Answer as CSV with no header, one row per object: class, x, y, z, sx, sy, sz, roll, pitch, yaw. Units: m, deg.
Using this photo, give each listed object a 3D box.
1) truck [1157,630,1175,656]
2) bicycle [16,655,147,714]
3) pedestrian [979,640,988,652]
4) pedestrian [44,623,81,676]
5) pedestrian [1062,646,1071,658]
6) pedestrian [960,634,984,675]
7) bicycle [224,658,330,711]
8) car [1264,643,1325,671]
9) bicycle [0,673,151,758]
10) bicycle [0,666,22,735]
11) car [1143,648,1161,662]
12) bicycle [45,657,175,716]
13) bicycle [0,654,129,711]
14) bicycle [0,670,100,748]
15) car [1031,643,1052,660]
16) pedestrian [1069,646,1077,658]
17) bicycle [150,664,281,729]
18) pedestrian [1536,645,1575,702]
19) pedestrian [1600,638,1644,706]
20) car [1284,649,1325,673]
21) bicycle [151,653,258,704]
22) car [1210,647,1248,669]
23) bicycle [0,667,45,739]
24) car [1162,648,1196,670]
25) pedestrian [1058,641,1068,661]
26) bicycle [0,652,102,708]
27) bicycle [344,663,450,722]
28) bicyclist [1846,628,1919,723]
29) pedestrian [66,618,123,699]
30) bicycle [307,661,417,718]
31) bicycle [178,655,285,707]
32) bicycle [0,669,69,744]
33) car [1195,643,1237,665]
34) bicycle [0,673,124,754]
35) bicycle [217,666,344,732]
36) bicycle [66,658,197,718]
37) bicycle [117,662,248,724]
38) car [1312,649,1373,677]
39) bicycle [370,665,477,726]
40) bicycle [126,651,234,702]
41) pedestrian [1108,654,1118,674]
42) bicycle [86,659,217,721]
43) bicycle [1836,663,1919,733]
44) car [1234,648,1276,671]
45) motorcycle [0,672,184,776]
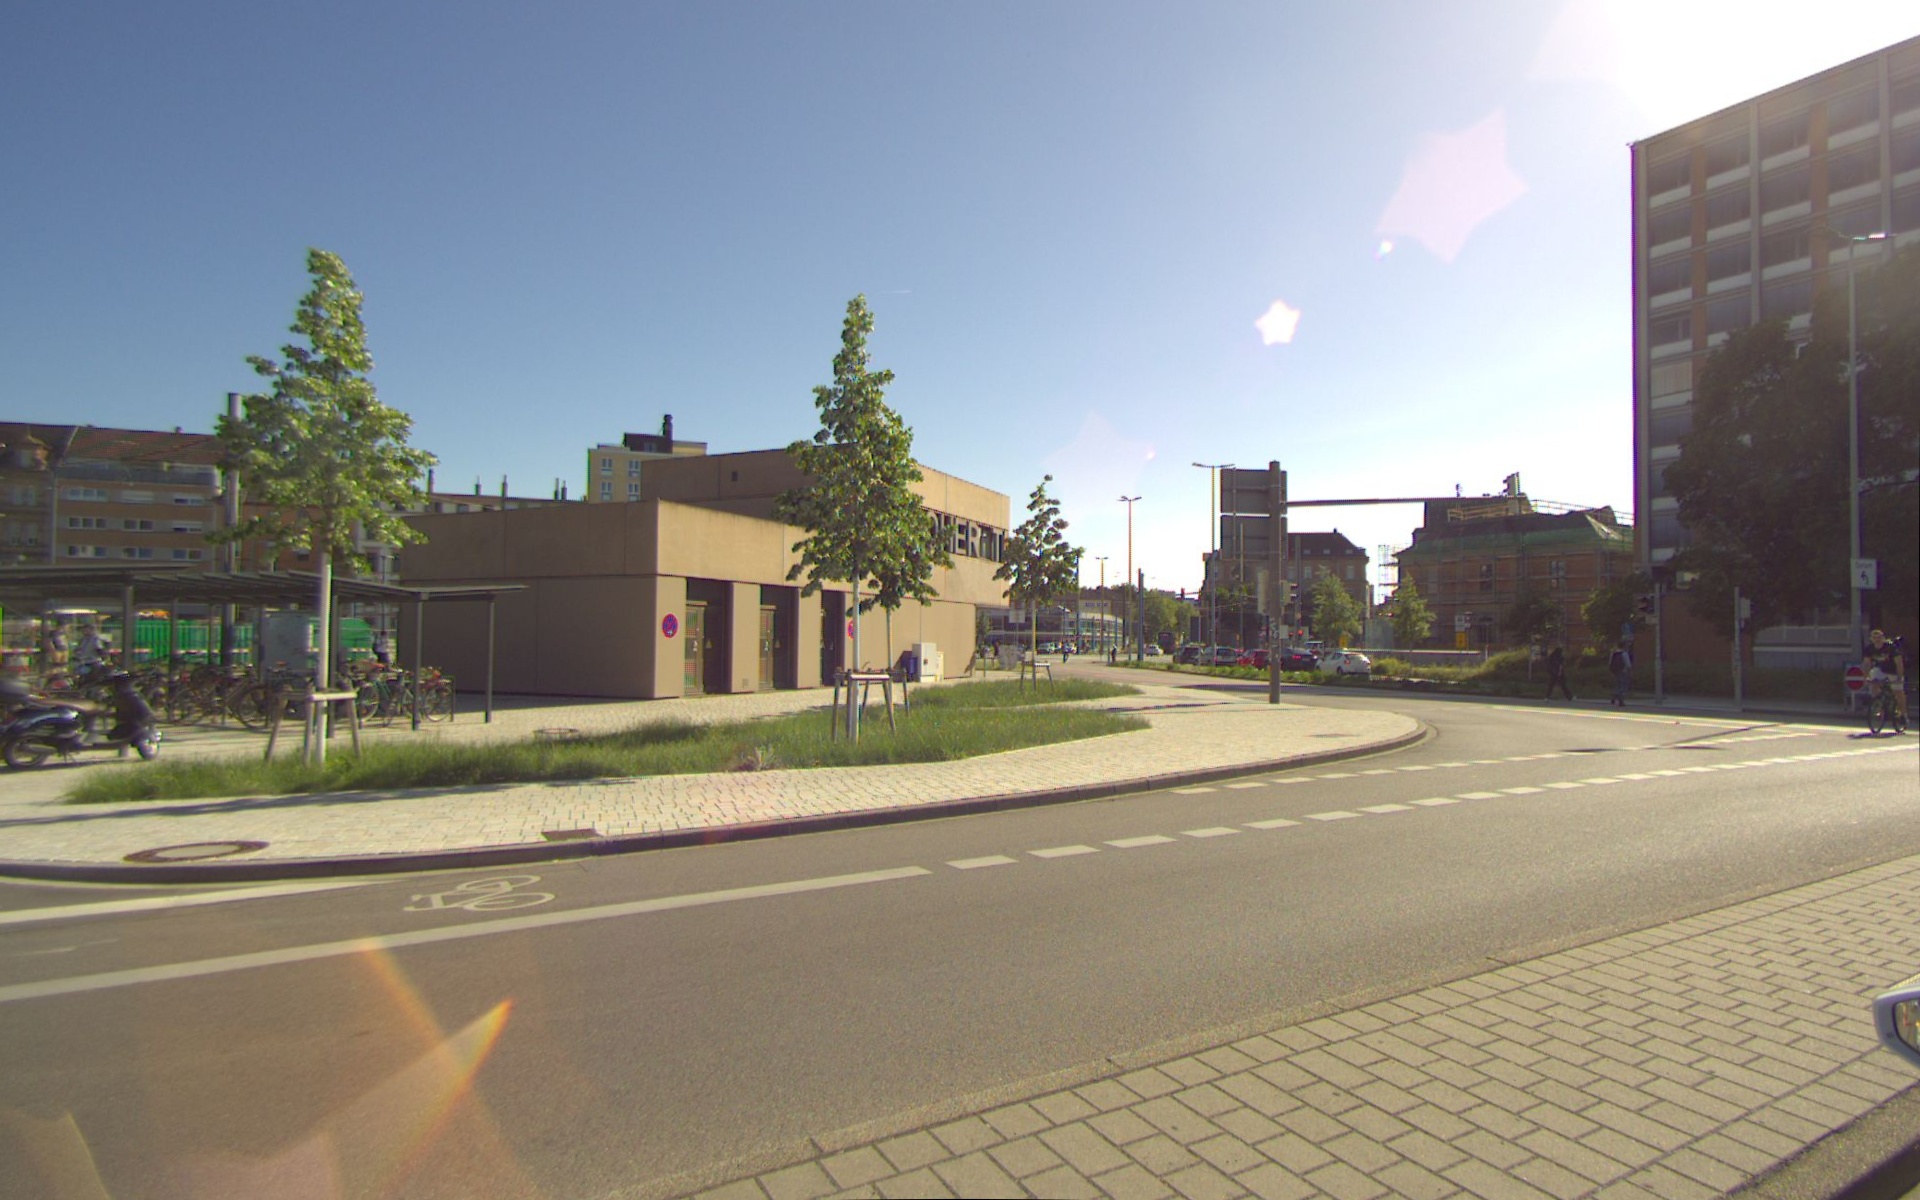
truck,32.220,6.668,157.250,2.549,3.723,5.229,2,0,10
bicycle,-16.637,1.582,19.087,0.557,1.051,1.788,-1,-3,22
pedestrian,2.942,5.752,125.723,0.855,1.427,0.688,2,0,-32
pedestrian,-26.160,1.440,29.290,0.550,1.538,0.588,0,-2,25
pedestrian,13.712,6.667,129.046,0.855,1.427,0.688,2,0,-32
pedestrian,0.503,2.329,42.817,0.778,1.745,0.594,-2,-5,38
bicycle,-14.110,1.724,20.799,0.557,1.051,1.788,-1,-3,22
car,20.921,3.536,63.033,1.953,1.645,4.374,1,-2,-7
bicycle,-12.199,1.541,13.658,0.557,1.051,1.788,-1,-3,22
bicycle,-15.221,1.514,14.925,0.557,1.051,1.788,-1,-3,22
car,25.068,7.179,131.256,1.751,1.565,3.640,2,0,19
bicycle,-15.898,1.589,18.845,0.557,1.051,1.788,-1,-3,22
bicycle,-17.199,1.560,19.324,0.557,1.051,1.788,-1,-3,22
bicycle,-13.345,1.524,14.143,0.557,1.051,1.788,-1,-3,22
car,11.068,6.988,136.549,1.960,2.040,4.001,2,0,16
pedestrian,14.559,6.695,129.507,0.855,1.427,0.688,2,0,-32
bicycle,-12.959,1.656,17.551,0.557,1.051,1.788,-1,-3,22
pedestrian,17.305,2.130,29.209,0.670,1.633,0.717,2,-2,-15
pedestrian,18.536,2.011,28.119,1.086,1.856,0.748,4,-3,-38
car,25.857,4.570,75.455,1.846,1.638,3.626,2,-3,0
bicycle,-16.205,1.665,21.596,0.557,1.051,1.788,-1,-3,22
car,20.230,4.356,75.659,1.697,1.461,3.799,3,-2,-2
bicycle,-14.606,1.513,14.641,0.557,1.051,1.788,-1,-3,22
car,16.343,4.400,75.130,1.696,1.461,3.912,3,-2,2
pedestrian,8.594,4.241,83.602,0.643,1.632,0.676,2,0,-4
bicycle,-17.879,1.537,19.495,0.557,1.051,1.788,-1,-3,22
bicycle,-10.652,1.720,19.066,0.557,1.051,1.788,-1,-3,22
bicyclist,16.550,1.345,17.990,0.966,1.642,0.716,2,-3,-30
pedestrian,-18.975,1.265,22.034,0.605,1.746,0.682,0,-2,9
bicycle,-11.662,1.723,19.650,0.558,1.051,1.785,-2,-4,30
bicycle,-15.402,1.688,21.297,0.557,1.051,1.788,-1,-3,22
bicycle,-14.029,1.529,14.399,0.557,1.051,1.788,-1,-3,22
car,17.392,3.668,68.283,1.697,1.461,3.798,0,-2,-3
bicycle,-12.797,1.546,13.919,0.557,1.051,1.788,-1,-3,22
bicycle,-11.690,1.683,17.355,0.557,1.051,1.788,-1,-3,22
bicycle,-15.256,1.591,18.549,0.557,1.051,1.788,-1,-3,22
bicycle,-13.854,1.631,17.953,0.557,1.051,1.788,-1,-3,22
car,21.261,3.507,55.955,1.665,1.454,3.733,1,-2,-7
bicycle,-9.862,1.732,18.539,0.557,1.051,1.788,-1,-3,22
bicycle,-16.882,1.645,21.781,0.557,1.051,1.788,-1,-3,22
pedestrian,12.484,5.215,82.045,0.566,1.632,0.565,2,0,-30
bicycle,-14.620,1.609,18.221,0.557,1.051,1.788,-1,-3,22
bicycle,16.562,1.726,17.984,1.848,1.180,0.742,2,-3,-30
car,20.260,4.059,69.060,1.644,1.461,3.722,3,-2,-2
motorcycle,-10.940,1.498,12.475,0.584,1.134,1.983,0,-2,26
